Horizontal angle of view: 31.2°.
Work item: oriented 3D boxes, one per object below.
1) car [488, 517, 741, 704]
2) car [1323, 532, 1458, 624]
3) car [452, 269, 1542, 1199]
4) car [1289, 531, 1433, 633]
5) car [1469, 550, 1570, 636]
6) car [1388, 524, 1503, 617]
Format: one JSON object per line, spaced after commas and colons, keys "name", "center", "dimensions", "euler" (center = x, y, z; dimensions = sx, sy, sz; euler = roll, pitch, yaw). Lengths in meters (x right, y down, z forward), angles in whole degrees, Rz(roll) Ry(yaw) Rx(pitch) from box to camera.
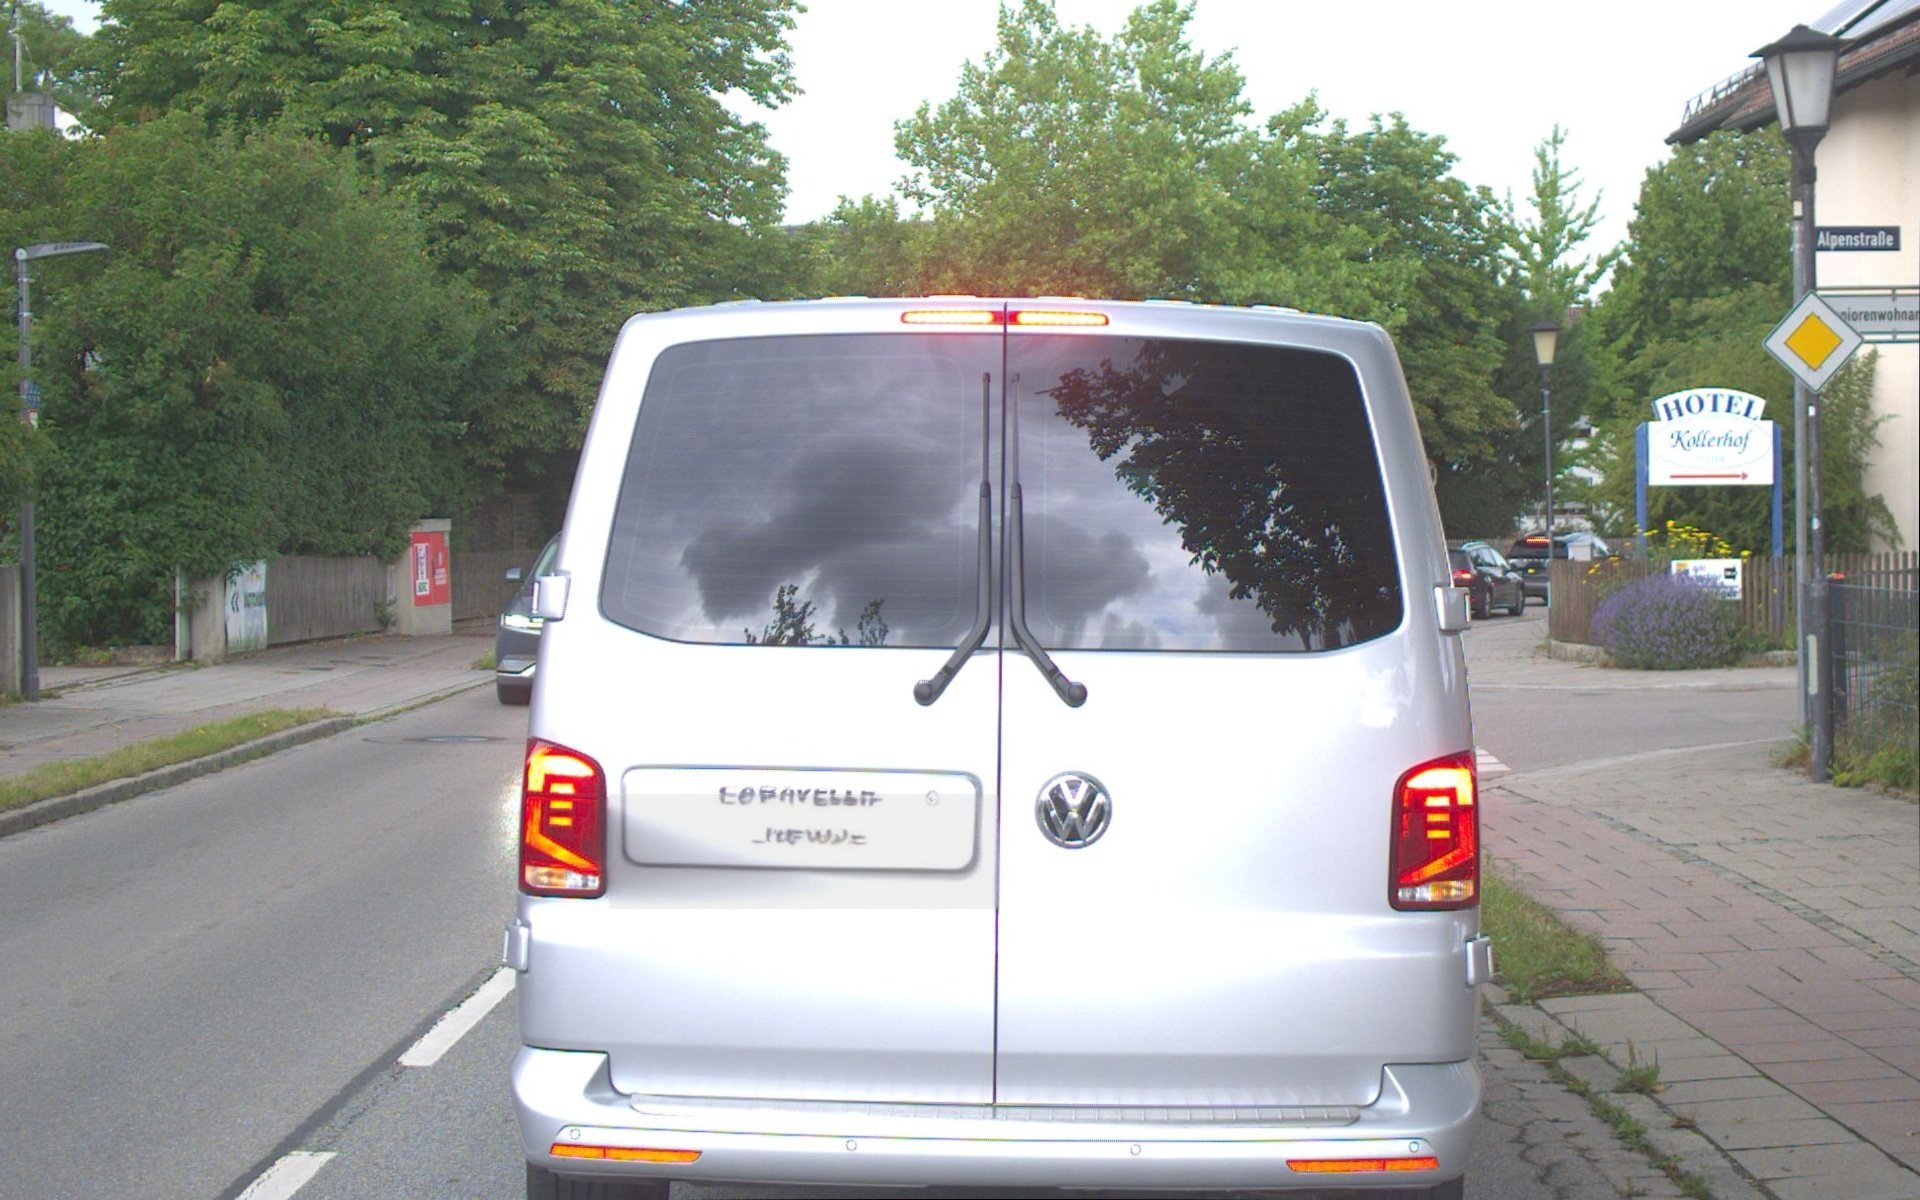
{"name": "car", "center": [-3.096, 0.048, 31.604], "dimensions": [1.930, 1.569, 4.312], "euler": [1, 1, -1]}
{"name": "car", "center": [7.489, -0.398, 59.571], "dimensions": [1.882, 1.530, 3.918], "euler": [0, 1, 14]}
{"name": "car", "center": [0.086, 0.362, 7.929], "dimensions": [1.881, 1.934, 3.921], "euler": [0, 1, 1]}
{"name": "car", "center": [6.315, -0.307, 53.779], "dimensions": [1.882, 1.530, 3.919], "euler": [0, 1, 12]}
{"name": "car", "center": [12.264, -0.178, 75.168], "dimensions": [1.882, 1.819, 3.918], "euler": [0, 1, 14]}
{"name": "car", "center": [9.445, -0.586, 66.656], "dimensions": [1.882, 1.742, 4.078], "euler": [0, 1, 12]}
